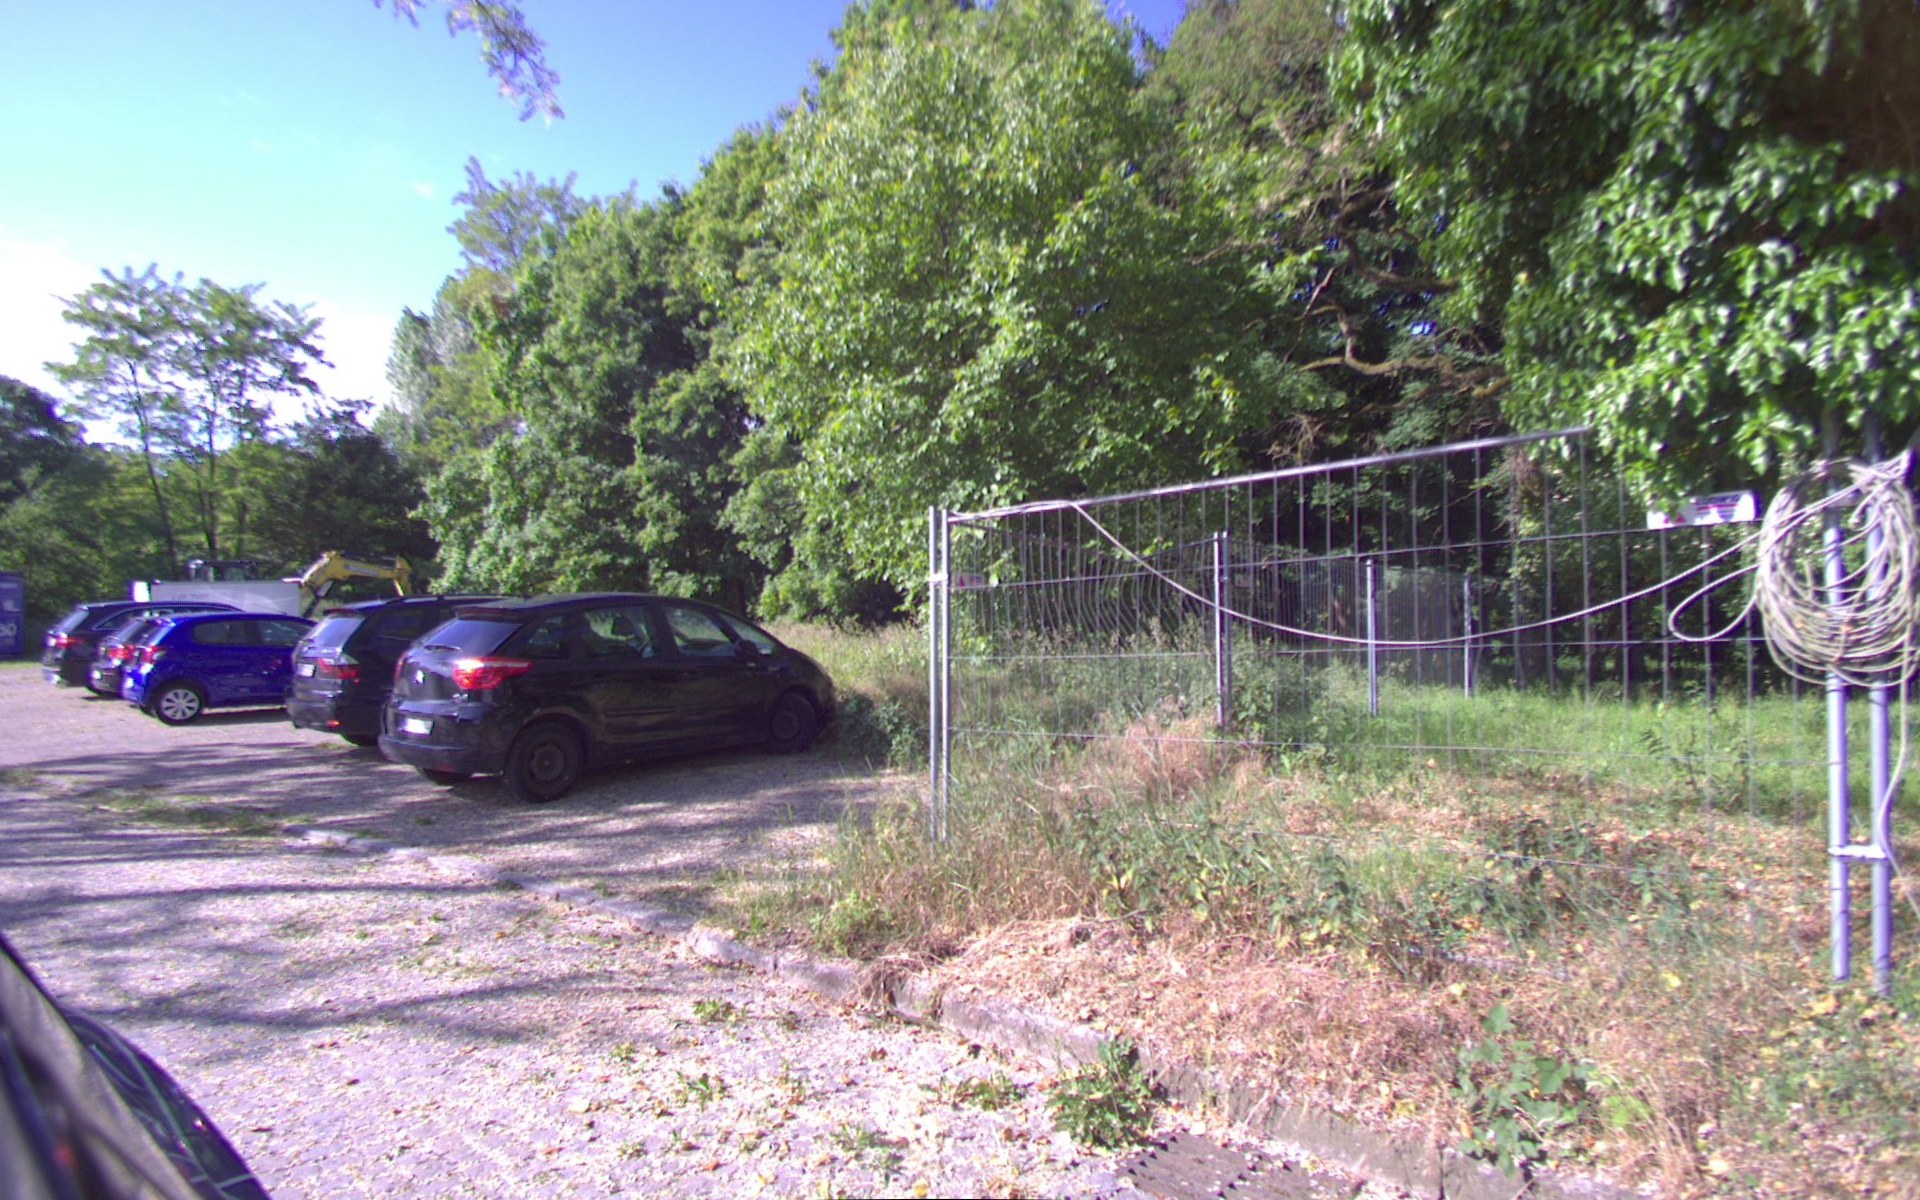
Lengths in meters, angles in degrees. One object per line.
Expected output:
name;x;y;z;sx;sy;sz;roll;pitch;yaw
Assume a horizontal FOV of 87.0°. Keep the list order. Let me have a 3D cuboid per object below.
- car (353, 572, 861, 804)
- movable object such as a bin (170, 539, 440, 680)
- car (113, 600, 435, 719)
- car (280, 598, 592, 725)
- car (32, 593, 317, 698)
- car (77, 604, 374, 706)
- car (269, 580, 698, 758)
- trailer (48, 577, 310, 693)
car;-3.023;0.661;9.505;1.790;1.664;4.246;-1;-1;37
movable object such as a bin;-15.371;0.239;23.969;5.087;2.988;2.002;1;-1;-44
car;-9.861;0.776;14.720;1.715;1.504;3.610;-1;-1;44
car;-7.124;0.761;13.941;3.498;1.527;1.680;1;-1;-43
car;-13.797;0.732;17.910;1.868;1.653;3.766;-1;-1;44
car;-11.832;0.813;16.445;1.834;1.462;3.613;-1;-1;42
car;-5.304;0.679;11.704;1.817;1.669;4.133;-1;-1;41
trailer;-15.571;0.615;20.321;1.639;2.109;3.917;-1;0;42
